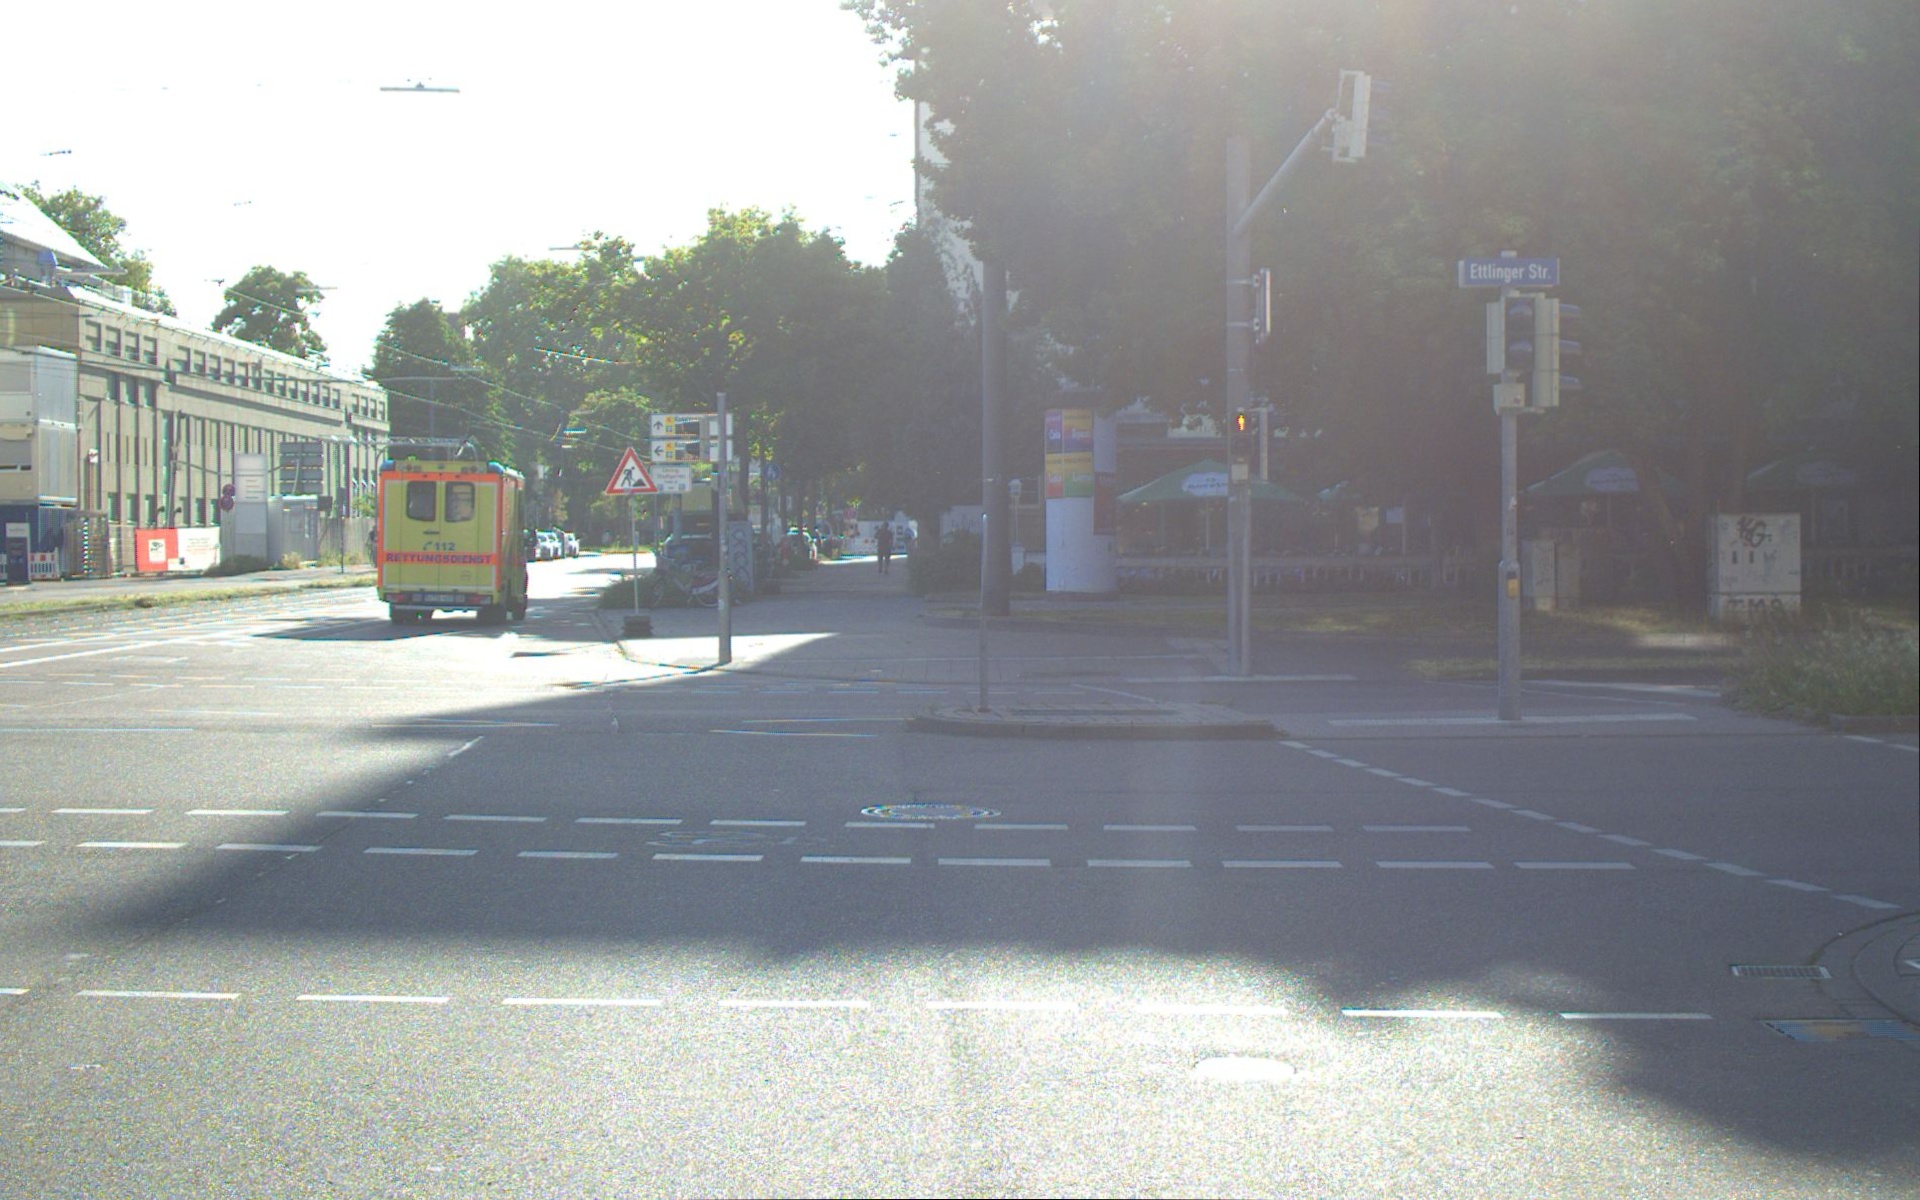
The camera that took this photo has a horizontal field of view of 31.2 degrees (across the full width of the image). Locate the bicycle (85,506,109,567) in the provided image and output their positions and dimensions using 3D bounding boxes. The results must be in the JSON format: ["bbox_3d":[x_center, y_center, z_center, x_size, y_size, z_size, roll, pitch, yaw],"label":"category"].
[{"bbox_3d":[-32.680,-2.414,130.227,0.571,2.288,1.422,0,1,-2],"label":"bicycle"}]

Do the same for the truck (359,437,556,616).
[{"bbox_3d":[-8.826,-1.294,61.005,2.716,3.005,6.490,0,1,-2],"label":"truck"}]

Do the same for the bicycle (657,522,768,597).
[{"bbox_3d":[-5.853,-0.965,81.381,2.547,1.737,1.037,1,0,0],"label":"bicycle"}]

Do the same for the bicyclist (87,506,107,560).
[{"bbox_3d":[-32.675,-2.531,130.230,0.571,2.017,0.762,0,1,-2],"label":"bicyclist"}]

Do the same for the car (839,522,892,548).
[{"bbox_3d":[-5.879,-4.043,213.423,3.214,1.583,1.446,1,0,-4],"label":"car"}]

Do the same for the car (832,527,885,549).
[{"bbox_3d":[-6.226,-3.804,211.172,3.217,1.259,1.373,1,0,-1],"label":"car"}]
